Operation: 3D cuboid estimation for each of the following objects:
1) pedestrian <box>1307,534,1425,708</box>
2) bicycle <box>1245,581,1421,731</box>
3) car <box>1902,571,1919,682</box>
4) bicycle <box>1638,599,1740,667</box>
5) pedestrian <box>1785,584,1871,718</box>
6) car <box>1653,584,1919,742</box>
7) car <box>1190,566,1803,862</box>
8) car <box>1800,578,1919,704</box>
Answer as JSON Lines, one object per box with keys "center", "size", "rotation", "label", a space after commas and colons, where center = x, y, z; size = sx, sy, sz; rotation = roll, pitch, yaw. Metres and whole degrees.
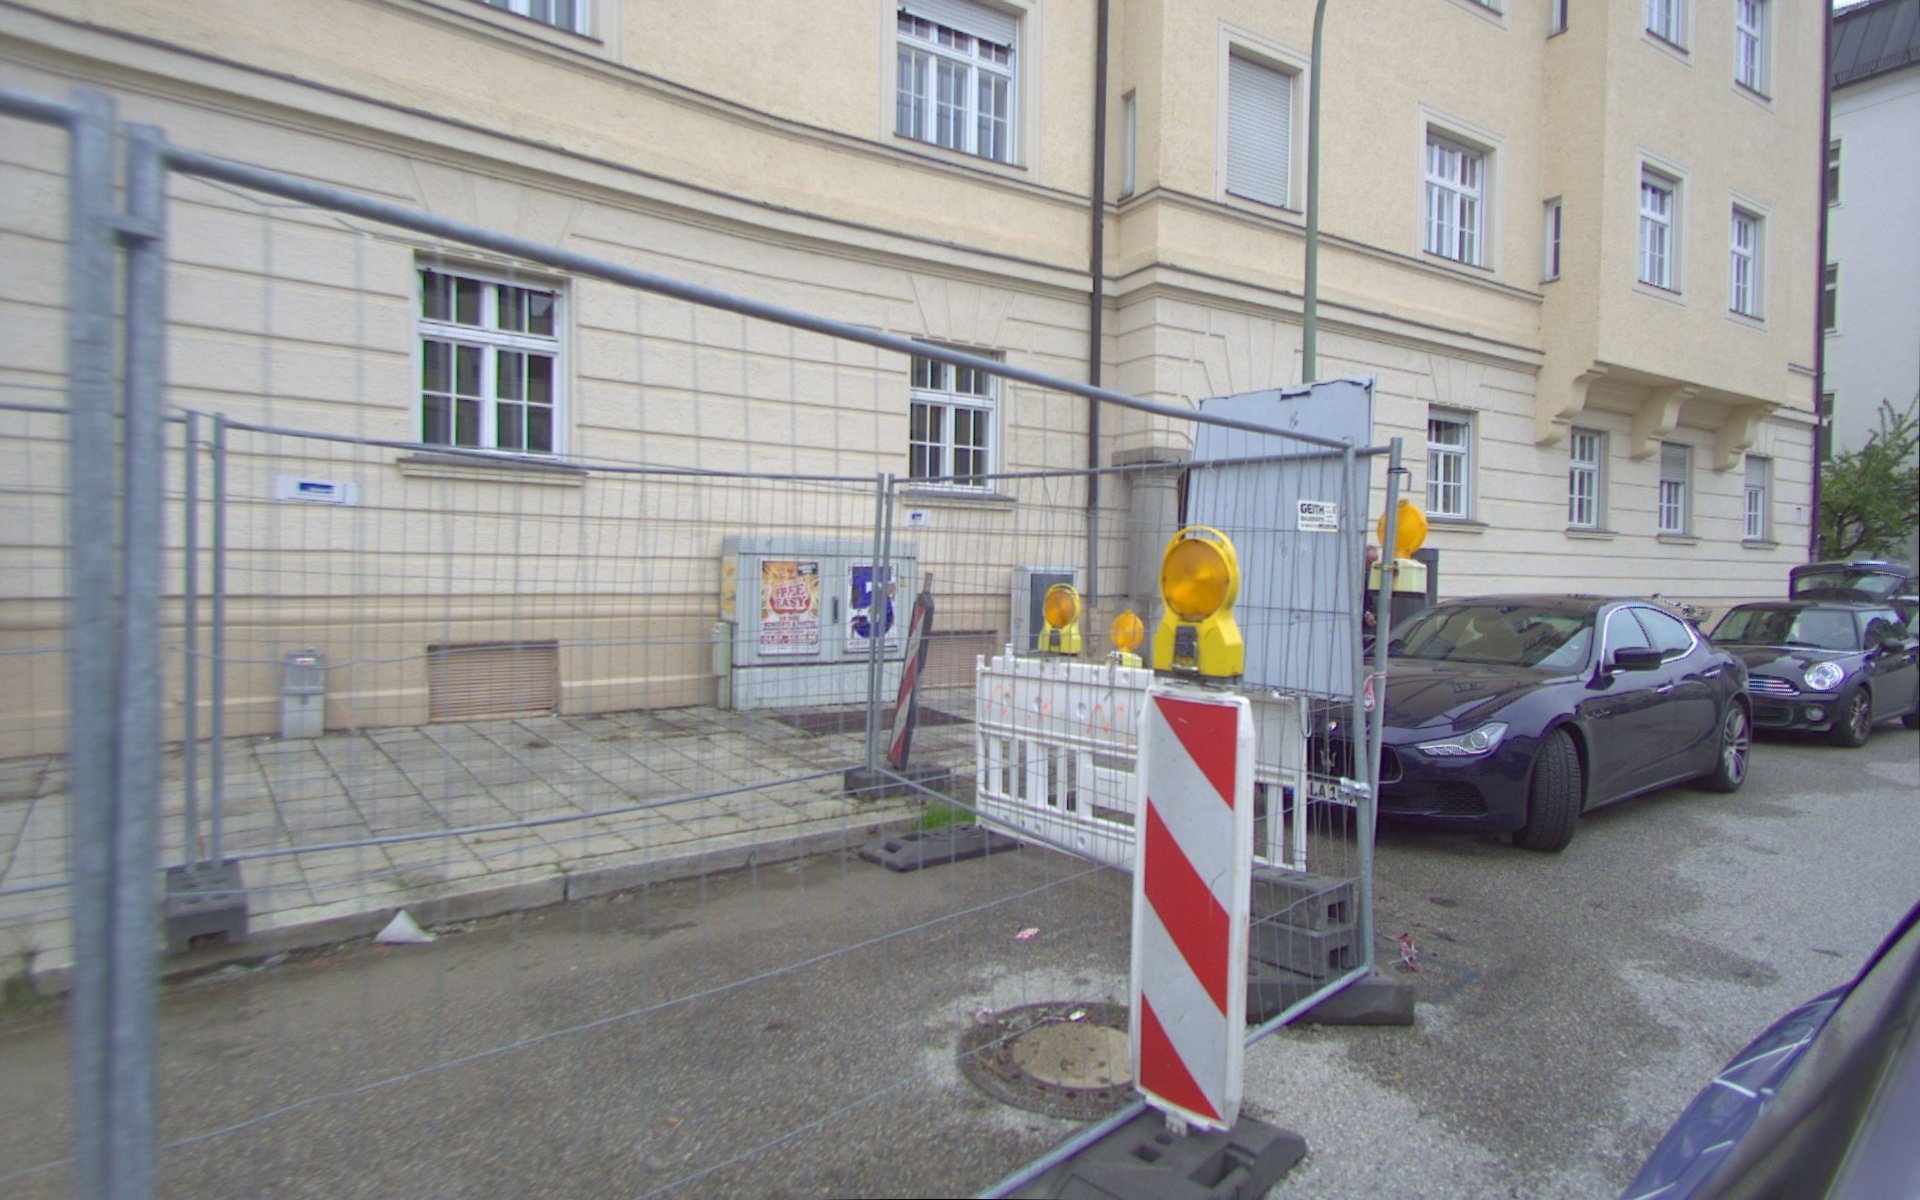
{"center": [4.230, 0.194, 10.552], "size": [0.901, 1.710, 0.620], "rotation": [0, 5, -31], "label": "pedestrian"}
{"center": [3.451, 0.466, 9.327], "size": [1.638, 1.274, 0.639], "rotation": [0, 1, -32], "label": "bicycle"}
{"center": [17.708, 0.450, 16.480], "size": [4.924, 1.761, 2.179], "rotation": [0, 1, -31], "label": "car"}
{"center": [12.394, 0.542, 17.184], "size": [2.095, 1.061, 0.504], "rotation": [0, 4, -30], "label": "bicycle"}
{"center": [10.468, 0.589, 12.206], "size": [0.566, 1.548, 0.631], "rotation": [0, 1, -32], "label": "pedestrian"}
{"center": [9.274, 0.576, 11.012], "size": [3.608, 1.435, 1.637], "rotation": [0, 1, -34], "label": "car"}
{"center": [4.048, 0.563, 7.291], "size": [4.852, 1.496, 1.915], "rotation": [0, 1, -35], "label": "car"}
{"center": [13.077, 0.514, 13.825], "size": [2.958, 1.574, 1.520], "rotation": [0, 1, -30], "label": "car"}
